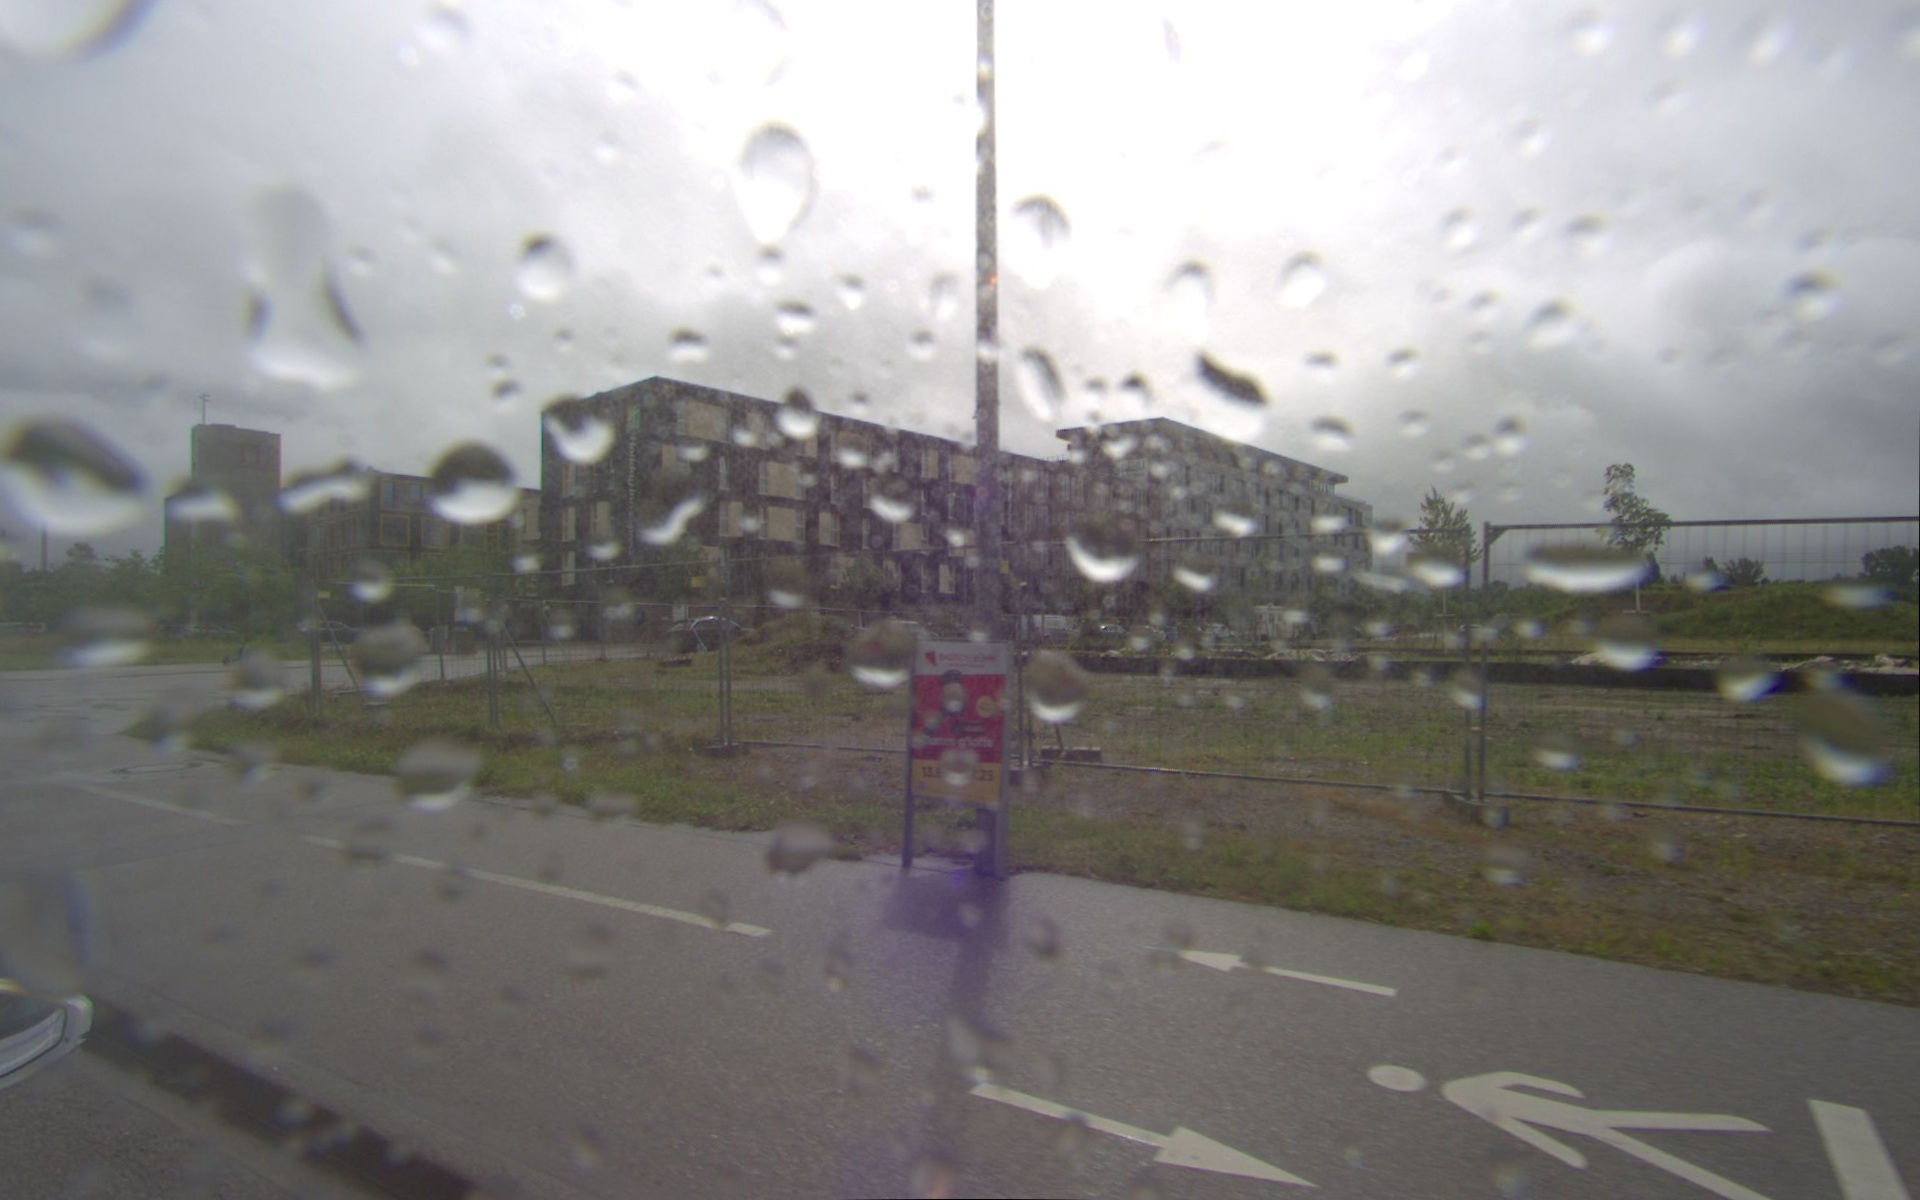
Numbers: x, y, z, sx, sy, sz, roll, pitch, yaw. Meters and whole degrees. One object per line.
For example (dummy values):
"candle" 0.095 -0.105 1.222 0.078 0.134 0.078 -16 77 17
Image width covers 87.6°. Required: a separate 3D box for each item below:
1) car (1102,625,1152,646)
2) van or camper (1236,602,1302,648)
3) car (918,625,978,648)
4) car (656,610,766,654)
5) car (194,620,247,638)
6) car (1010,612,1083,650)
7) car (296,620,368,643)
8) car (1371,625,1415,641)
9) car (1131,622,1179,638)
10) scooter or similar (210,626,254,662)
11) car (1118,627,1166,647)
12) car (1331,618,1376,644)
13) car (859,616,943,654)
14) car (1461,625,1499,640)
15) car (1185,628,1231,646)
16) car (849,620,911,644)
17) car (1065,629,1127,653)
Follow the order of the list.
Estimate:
"car" 13.824 2.910 83.062 3.798 1.635 1.538 -1 -5 41
"van or camper" 24.963 2.072 80.812 2.501 3.240 6.752 0 -5 41
"car" -0.813 2.425 66.684 3.798 1.412 1.773 -1 -5 41
"car" -10.045 1.307 40.659 1.976 1.638 3.973 -4 -4 37
"car" -71.538 2.838 96.912 1.751 1.743 3.963 -1 -2 45
"car" 5.073 1.844 58.282 1.978 1.792 4.308 -1 -7 42
"car" -45.894 2.304 73.223 1.650 1.578 4.179 -1 -1 44
"car" 49.724 3.734 115.013 4.324 1.708 1.785 -1 -5 44
"car" 16.972 2.632 87.354 3.859 1.312 1.541 -1 -5 41
"scooter or similar" -26.085 1.569 35.892 0.493 1.203 1.283 2 1 11
"car" 15.521 3.149 85.511 3.798 1.635 1.538 -1 -5 41
"car" 34.882 2.765 88.775 1.980 2.038 4.772 -1 -5 45
"car" -2.883 1.735 49.343 1.975 1.661 3.977 0 -5 37
"car" 63.951 4.010 123.187 3.946 1.750 1.988 -1 -1 35
"car" 23.484 3.501 94.964 3.798 1.635 1.773 -1 -5 41
"car" -5.108 2.029 63.846 3.764 1.412 1.756 -1 -5 41
"car" 8.471 2.534 62.303 1.977 1.432 3.970 -1 -3 41
